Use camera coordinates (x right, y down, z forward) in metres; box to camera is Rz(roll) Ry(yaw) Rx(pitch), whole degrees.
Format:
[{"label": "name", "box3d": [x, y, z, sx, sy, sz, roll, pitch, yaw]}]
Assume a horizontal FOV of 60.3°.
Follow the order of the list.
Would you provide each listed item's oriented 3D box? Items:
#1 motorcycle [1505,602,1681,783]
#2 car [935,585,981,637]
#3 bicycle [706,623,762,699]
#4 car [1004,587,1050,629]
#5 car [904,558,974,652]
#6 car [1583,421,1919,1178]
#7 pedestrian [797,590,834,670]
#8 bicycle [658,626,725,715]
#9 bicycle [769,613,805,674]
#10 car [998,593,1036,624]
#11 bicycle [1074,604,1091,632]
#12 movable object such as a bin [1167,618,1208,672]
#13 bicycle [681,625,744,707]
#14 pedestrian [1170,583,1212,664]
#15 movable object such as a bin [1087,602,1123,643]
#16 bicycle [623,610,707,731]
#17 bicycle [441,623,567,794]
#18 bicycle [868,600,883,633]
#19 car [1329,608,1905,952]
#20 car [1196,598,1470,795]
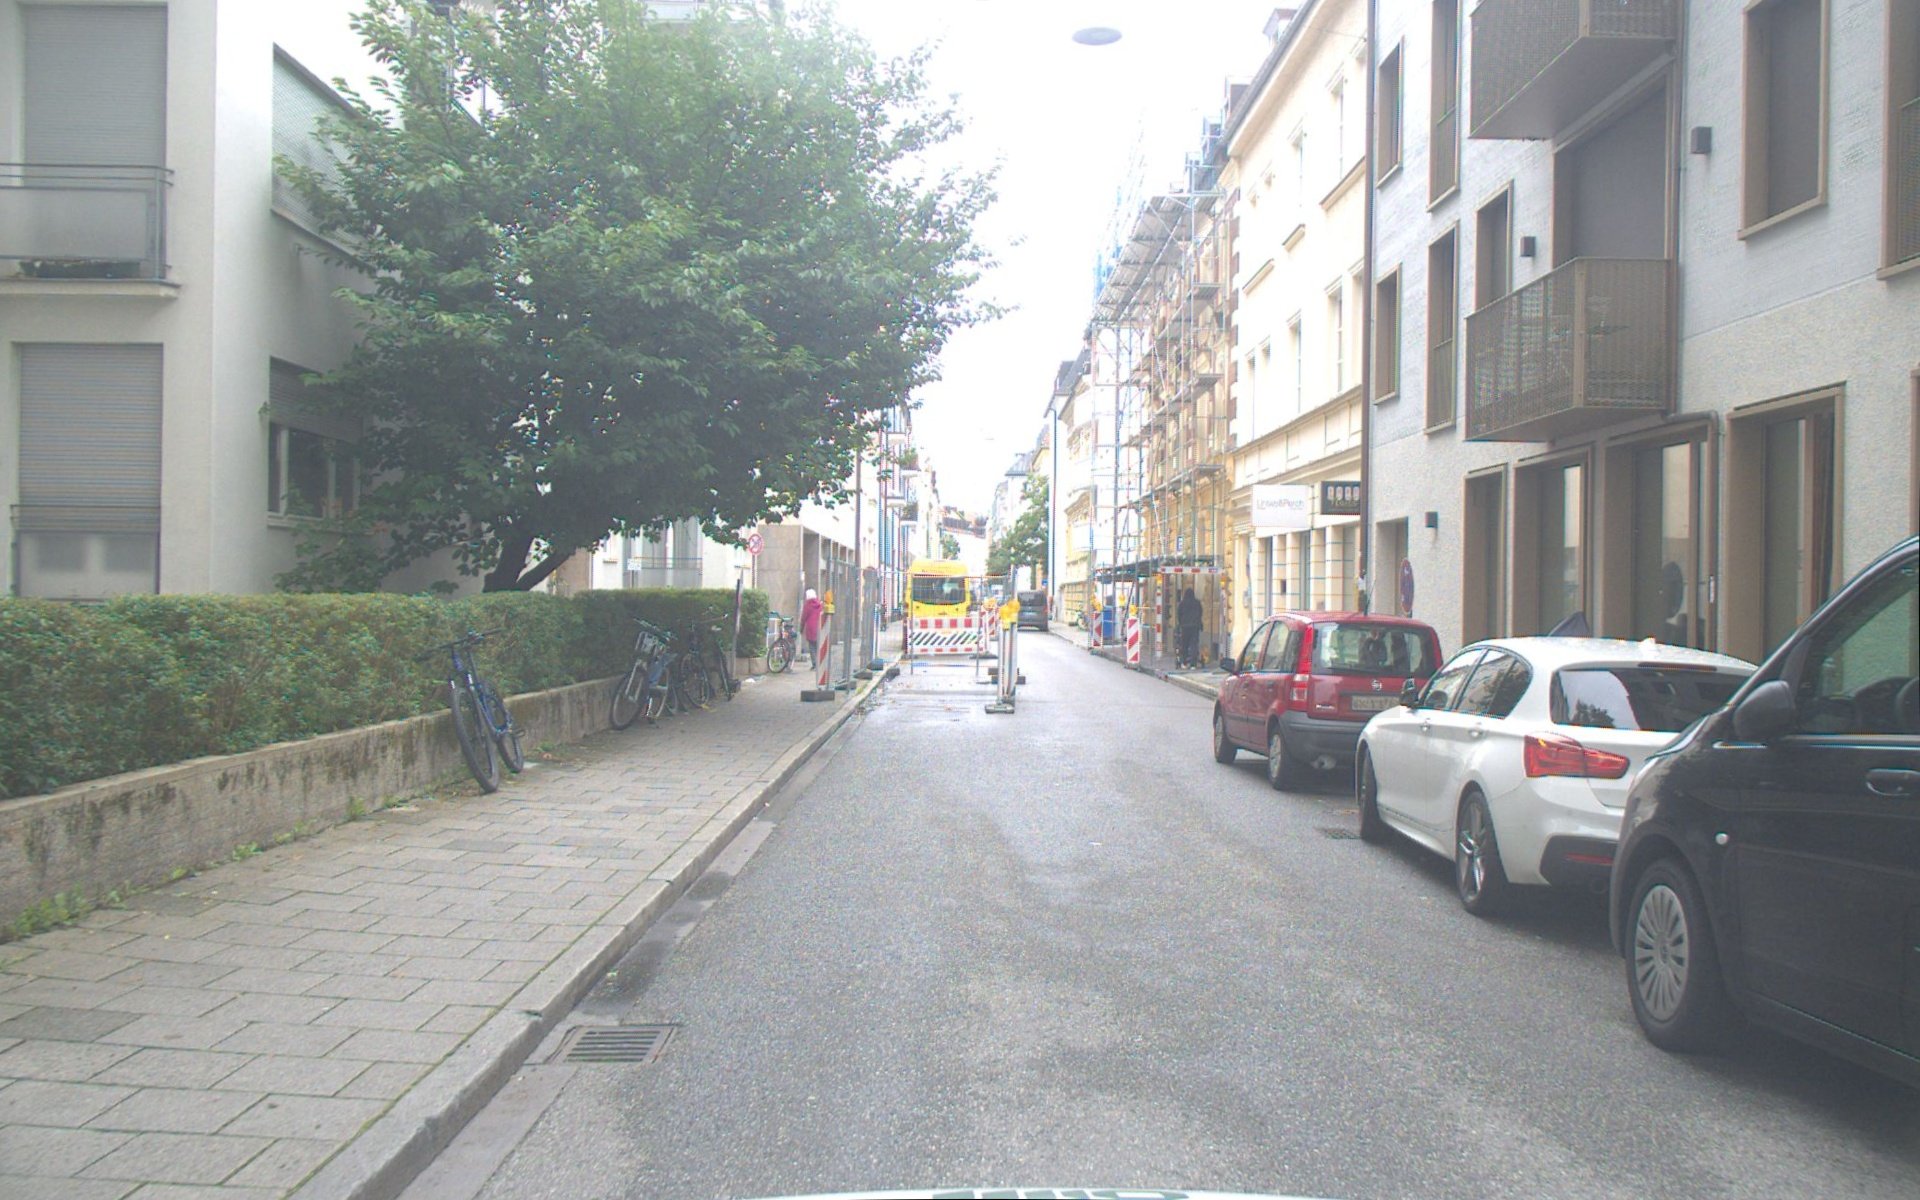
[{"label": "motorcycle", "box3d": [5.519, 0.760, 14.563, 0.788, 1.448, 1.932, -2, 0, 1]}, {"label": "car", "box3d": [-0.097, 0.420, 64.832, 1.692, 1.930, 5.508, -1, 0, 0]}, {"label": "bicycle", "box3d": [-3.163, 0.841, 23.284, 0.434, 0.995, 1.816, 4, -1, 1]}, {"label": "car", "box3d": [3.298, 0.388, 81.746, 1.953, 1.965, 4.659, 2, 0, -1]}, {"label": "car", "box3d": [-0.633, 0.132, 49.657, 1.953, 2.624, 6.735, 0, 0, -1]}, {"label": "car", "box3d": [3.560, 0.565, 4.091, 1.951, 2.011, 4.882, 3, 0, -3]}, {"label": "pedestrian", "box3d": [-2.861, 0.595, 32.777, 0.624, 1.559, 0.747, -1, 0, 2]}, {"label": "bicycle", "box3d": [-3.204, 0.827, 19.857, 0.427, 0.995, 1.699, 4, -1, 1]}, {"label": "bicycle", "box3d": [-3.257, 0.805, 31.225, 0.369, 1.081, 1.597, 6, 0, 1]}, {"label": "car", "box3d": [3.138, 0.458, 91.634, 1.855, 1.670, 4.321, 1, 0, -1]}, {"label": "bicycle", "box3d": [5.531, 0.800, 74.881, 0.625, 1.173, 1.915, -2, 1, 0]}, {"label": "movable object such as a bin", "box3d": [5.228, 1.024, 38.025, 0.715, 1.160, 0.988, -4, 0, -1]}, {"label": "bicycle", "box3d": [-3.186, 0.832, 21.418, 0.434, 0.995, 1.853, 4, -1, 1]}, {"label": "pedestrian", "box3d": [5.220, 0.523, 37.360, 0.714, 1.783, 0.988, -3, 0, -1]}, {"label": "movable object such as a bin", "box3d": [5.216, 0.801, 59.364, 1.063, 1.370, 1.318, -2, 0, 12]}, {"label": "bicycle", "box3d": [-3.081, 0.719, 17.393, 0.478, 1.171, 1.699, 4, -1, 1]}, {"label": "bicycle", "box3d": [-3.255, 0.740, 11.934, 0.339, 1.090, 1.780, 4, 0, 0]}, {"label": "bicycle", "box3d": [-3.296, 0.629, 64.622, 0.374, 1.209, 2.132, 2, 1, -8]}, {"label": "car", "box3d": [3.536, 0.844, 9.866, 1.732, 1.486, 4.381, 3, 0, 1]}, {"label": "car", "box3d": [3.375, 0.796, 15.715, 1.735, 1.550, 4.067, 3, 0, 2]}]
